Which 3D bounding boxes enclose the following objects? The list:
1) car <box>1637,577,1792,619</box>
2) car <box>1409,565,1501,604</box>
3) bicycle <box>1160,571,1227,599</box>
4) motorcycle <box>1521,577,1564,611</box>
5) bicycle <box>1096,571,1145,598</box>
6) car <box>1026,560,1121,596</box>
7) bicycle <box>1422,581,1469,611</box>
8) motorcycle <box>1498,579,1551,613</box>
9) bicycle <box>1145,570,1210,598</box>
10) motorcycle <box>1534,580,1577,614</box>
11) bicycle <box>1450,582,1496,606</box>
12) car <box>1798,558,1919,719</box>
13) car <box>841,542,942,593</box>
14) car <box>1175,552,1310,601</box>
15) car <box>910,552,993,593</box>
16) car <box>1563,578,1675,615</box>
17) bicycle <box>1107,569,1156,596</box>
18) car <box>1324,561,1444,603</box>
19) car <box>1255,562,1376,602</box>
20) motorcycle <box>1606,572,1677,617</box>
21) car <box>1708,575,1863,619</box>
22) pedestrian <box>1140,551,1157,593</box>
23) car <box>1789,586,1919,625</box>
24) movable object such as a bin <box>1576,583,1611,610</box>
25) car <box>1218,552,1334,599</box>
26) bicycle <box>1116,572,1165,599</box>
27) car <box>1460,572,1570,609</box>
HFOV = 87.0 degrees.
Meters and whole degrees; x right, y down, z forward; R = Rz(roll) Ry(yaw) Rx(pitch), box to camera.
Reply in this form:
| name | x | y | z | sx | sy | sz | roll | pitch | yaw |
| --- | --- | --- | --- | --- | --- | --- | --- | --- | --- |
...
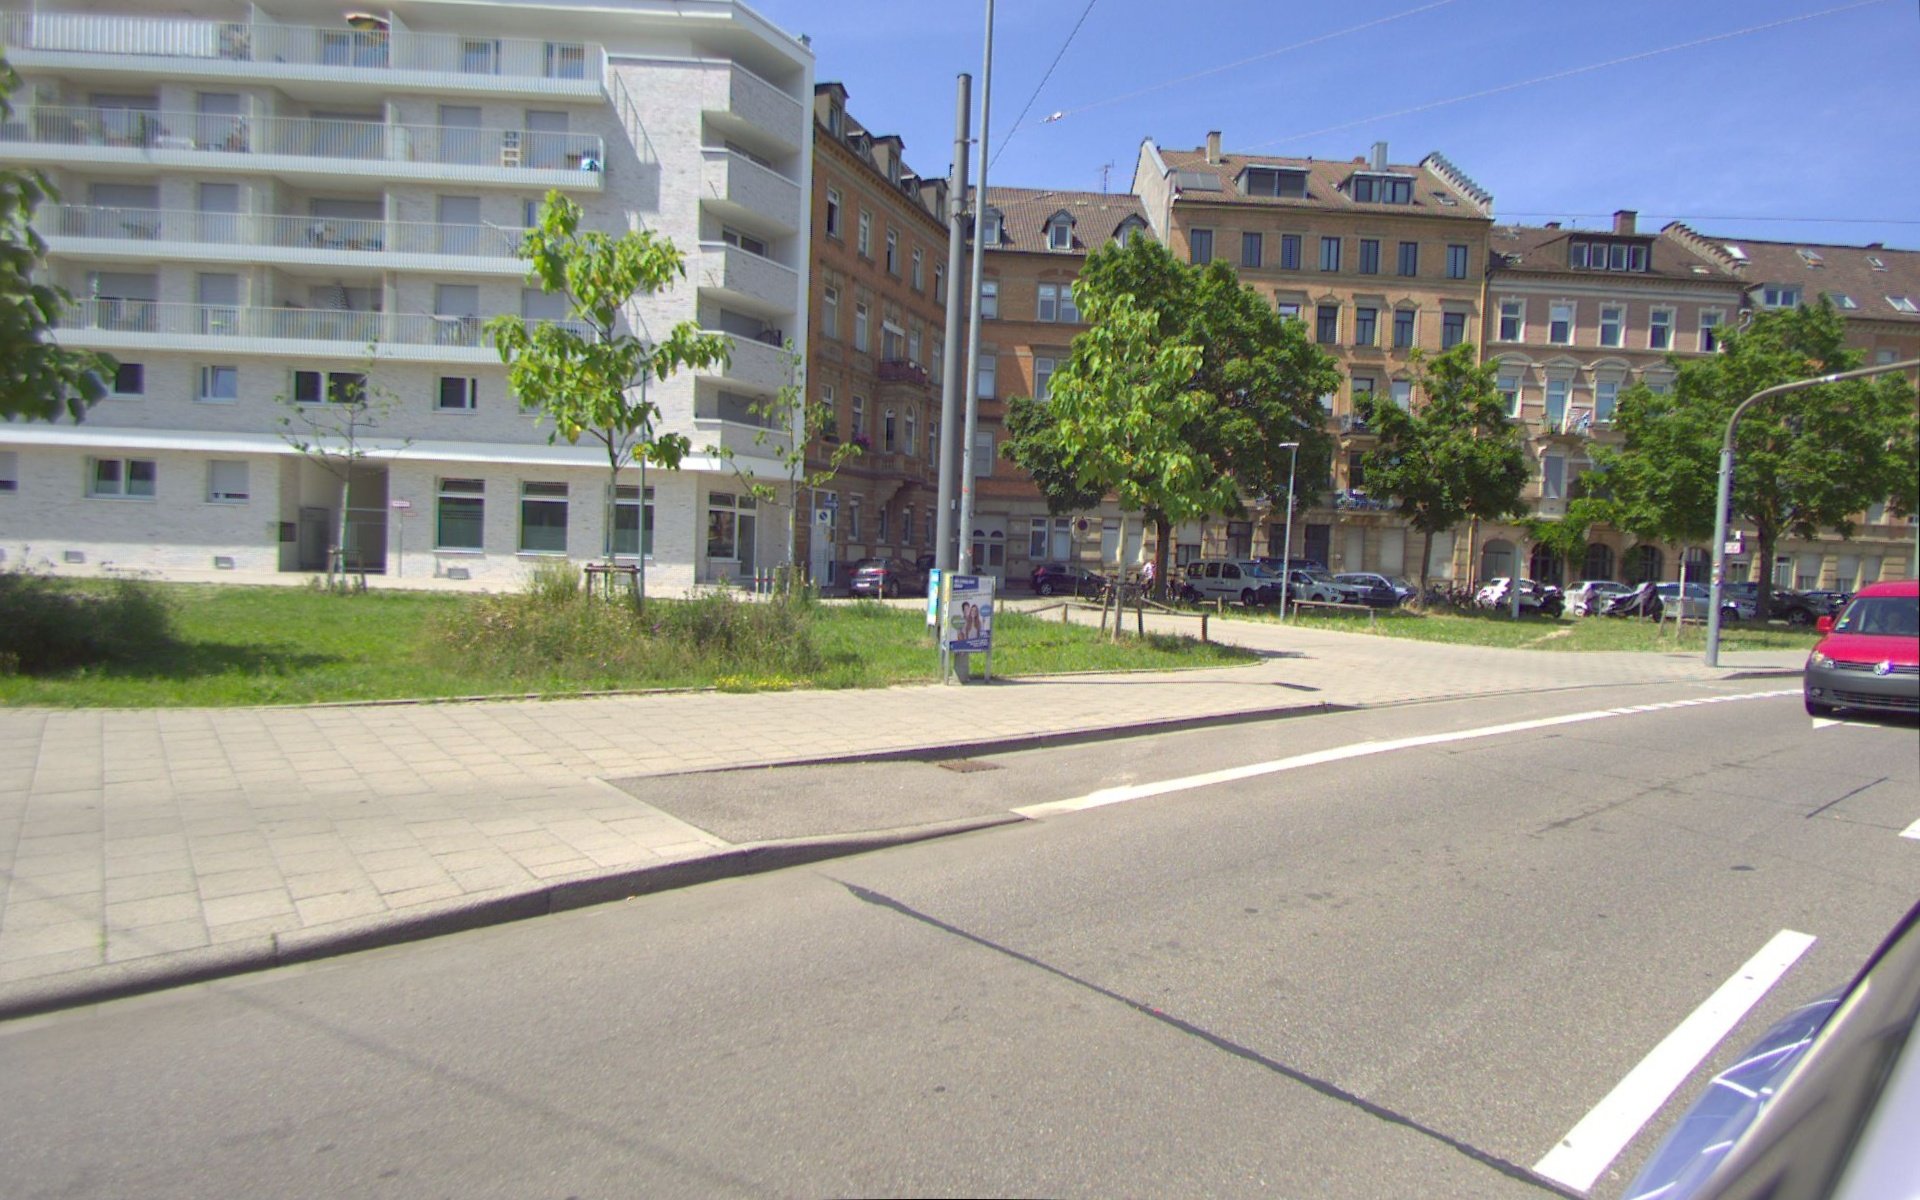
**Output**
| name | x | y | z | sx | sy | sz | roll | pitch | yaw |
| --- | --- | --- | --- | --- | --- | --- | --- | --- | --- |
| car | 27.920 | -0.106 | 37.605 | 1.550 | 1.393 | 4.355 | 2 | 1 | -28 |
| car | 19.480 | -0.616 | 40.020 | 1.923 | 1.393 | 3.994 | 2 | 1 | 5 |
| bicycle | 8.316 | -0.549 | 36.182 | 0.500 | 0.947 | 2.421 | 1 | 1 | -45 |
| motorcycle | 22.258 | -0.229 | 38.686 | 0.800 | 1.251 | 2.077 | 2 | 1 | 13 |
| bicycle | 5.780 | -0.568 | 36.573 | 0.498 | 0.947 | 2.052 | 2 | 1 | -32 |
| car | 5.044 | -0.961 | 45.207 | 3.921 | 1.438 | 1.779 | 2 | 1 | -3 |
| bicycle | 16.221 | -0.132 | 33.832 | 1.353 | 0.959 | 0.474 | 2 | 0 | 19 |
| motorcycle | 19.444 | -0.141 | 34.895 | 0.517 | 1.134 | 1.831 | 2 | 1 | -9 |
| bicycle | 8.025 | -0.608 | 37.424 | 0.500 | 0.947 | 2.421 | 0 | 2 | -45 |
| motorcycle | 20.449 | -0.101 | 34.776 | 0.468 | 1.134 | 1.526 | 2 | 1 | -3 |
| bicycle | 18.430 | -0.233 | 36.364 | 1.445 | 0.815 | 0.493 | 2 | 1 | 33 |
| car | 13.094 | 0.487 | 13.336 | 5.067 | 1.857 | 1.861 | 1 | 1 | -35 |
| car | -2.340 | -1.094 | 35.533 | 1.679 | 1.645 | 4.091 | 2 | 1 | 27 |
| car | 10.144 | -0.859 | 36.725 | 1.799 | 1.621 | 4.881 | 2 | 1 | -29 |
| car | -0.291 | -1.101 | 41.380 | 1.760 | 1.548 | 4.044 | 2 | 1 | 27 |
| car | 30.306 | -0.153 | 46.595 | 3.921 | 1.549 | 1.844 | 2 | 1 | -4 |
| bicycle | 6.227 | -0.662 | 36.914 | 0.498 | 0.947 | 2.052 | 2 | 1 | -32 |
| car | 15.550 | -0.679 | 37.277 | 1.575 | 1.450 | 3.873 | 2 | 1 | -31 |
| car | 12.923 | -0.670 | 36.986 | 1.723 | 1.349 | 4.006 | 2 | 1 | -29 |
| motorcycle | 22.924 | -0.195 | 34.062 | 1.821 | 1.430 | 0.678 | 2 | 2 | -1 |
| car | 30.804 | -0.142 | 37.896 | 1.762 | 1.488 | 4.098 | 2 | 1 | -29 |
| pedestrian | 8.489 | -1.254 | 45.524 | 0.591 | 1.842 | 0.453 | 2 | 0 | -2 |
| car | 33.821 | 0.187 | 37.753 | 1.931 | 1.330 | 4.008 | 2 | 1 | -24 |
| movable object such as a bin | 22.356 | -0.127 | 35.739 | 0.690 | 0.949 | 0.986 | 2 | 1 | 9 |
| car | 14.268 | -1.090 | 45.877 | 4.564 | 1.927 | 1.927 | 2 | 1 | -2 |
| bicycle | 6.614 | -0.542 | 37.208 | 0.498 | 0.947 | 2.052 | 2 | 1 | -32 |
| car | 25.393 | -0.446 | 46.395 | 3.924 | 1.549 | 1.842 | 2 | 1 | 0 |
